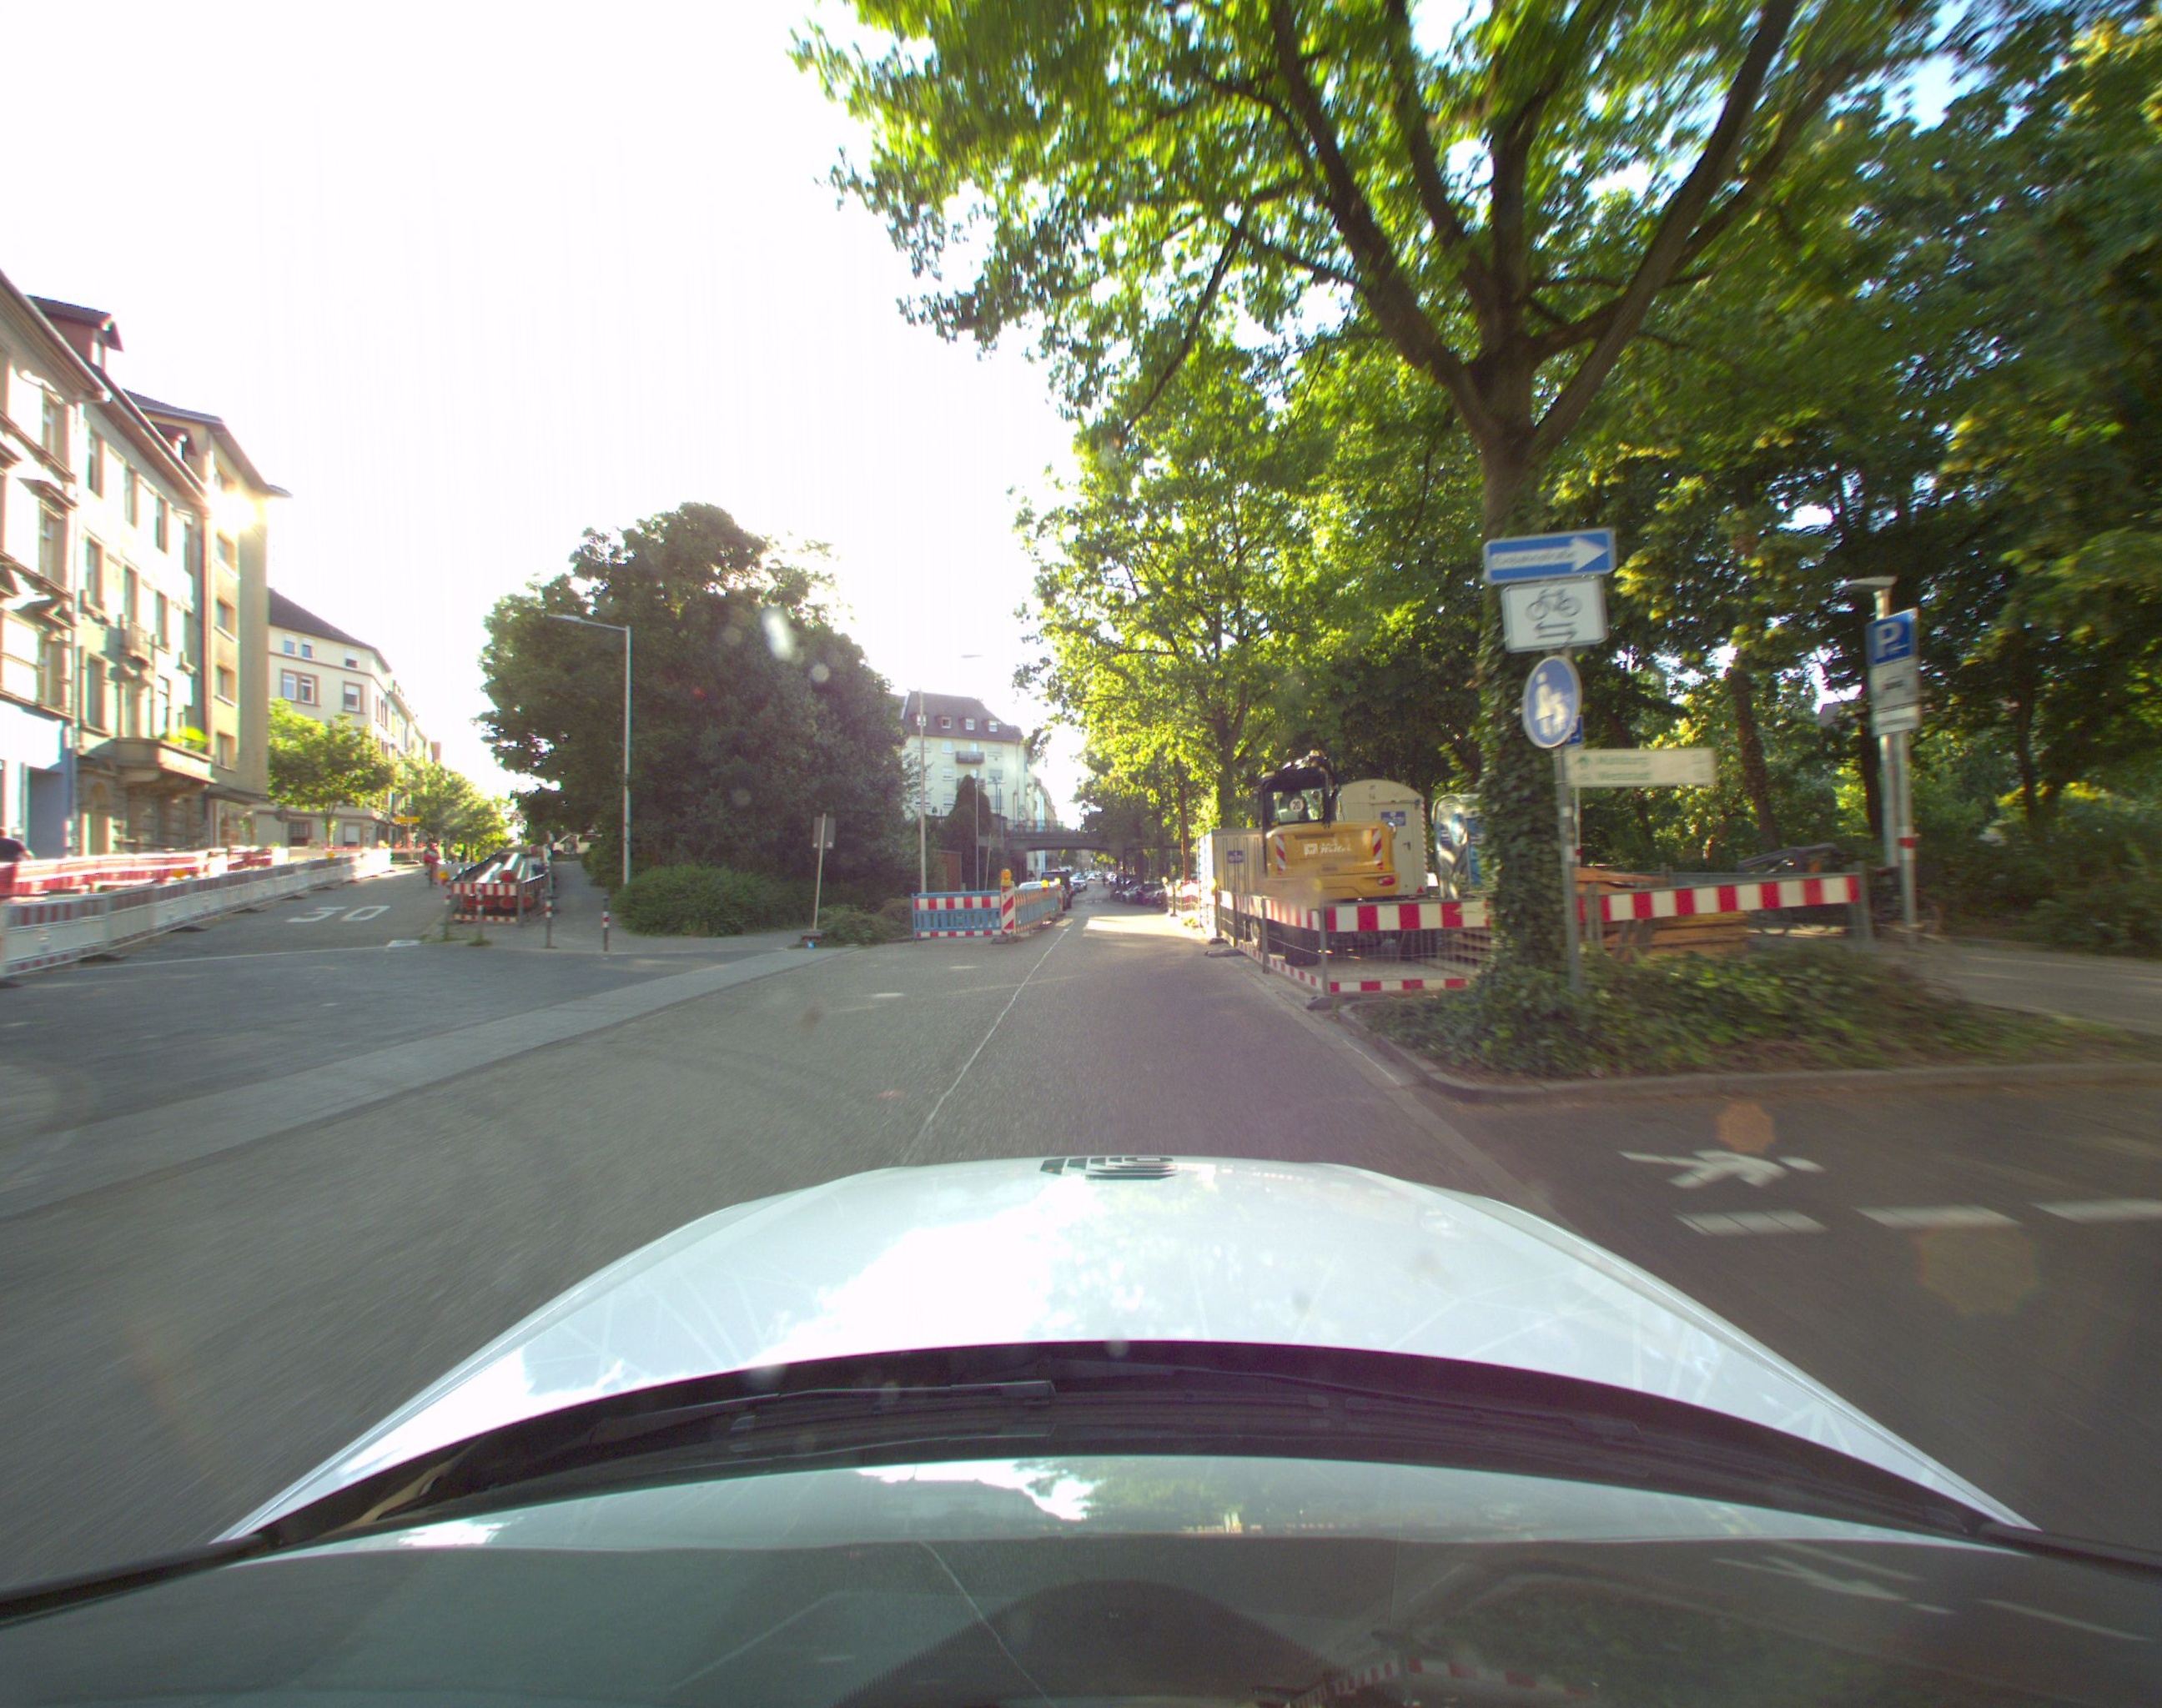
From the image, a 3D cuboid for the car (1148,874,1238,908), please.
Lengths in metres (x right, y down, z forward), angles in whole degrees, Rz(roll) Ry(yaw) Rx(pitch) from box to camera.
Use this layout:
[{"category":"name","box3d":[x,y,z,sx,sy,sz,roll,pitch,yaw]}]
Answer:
[{"category":"car","box3d":[5.676,1.895,41.706,4.374,1.702,1.915,0,-4,-1]}]

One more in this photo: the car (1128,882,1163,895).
[{"category":"car","box3d":[8.223,4.452,104.360,4.371,1.610,1.781,0,-4,1]}]

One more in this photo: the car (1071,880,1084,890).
[{"category":"car","box3d":[-0.479,4.468,117.153,1.806,1.398,3.974,-3,-3,1]}]

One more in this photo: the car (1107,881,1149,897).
[{"category":"car","box3d":[5.043,3.789,87.814,4.374,1.610,1.779,0,-4,-1]}]

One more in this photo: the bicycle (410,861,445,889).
[{"category":"bicycle","box3d":[-23.358,0.742,29.142,0.809,0.968,2.086,0,-1,-34]}]

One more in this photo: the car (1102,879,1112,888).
[{"category":"car","box3d":[4.538,5.260,143.790,1.768,1.610,4.402,-1,-3,2]}]

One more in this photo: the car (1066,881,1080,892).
[{"category":"car","box3d":[-1.047,4.464,111.939,1.806,1.398,3.974,-3,-3,1]}]

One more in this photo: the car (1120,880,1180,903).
[{"category":"car","box3d":[5.159,2.820,61.290,4.374,1.702,1.915,0,-4,-1]}]

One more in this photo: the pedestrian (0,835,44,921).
[{"category":"pedestrian","box3d":[-25.611,0.572,19.341,0.946,2.014,0.949,-1,-1,-32]}]

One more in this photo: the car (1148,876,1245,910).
[{"category":"car","box3d":[5.542,1.912,39.518,4.376,1.606,1.914,0,-4,-3]}]

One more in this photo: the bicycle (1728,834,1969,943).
[{"category":"bicycle","box3d":[10.193,0.421,10.966,1.024,1.285,2.139,-2,0,-10]}]

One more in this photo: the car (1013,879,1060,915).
[{"category":"car","box3d":[-1.880,1.861,35.357,1.709,1.418,4.106,-3,-3,1]}]

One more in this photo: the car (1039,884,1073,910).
[{"category":"car","box3d":[-1.473,2.646,49.952,1.806,1.453,4.349,-3,-3,1]}]

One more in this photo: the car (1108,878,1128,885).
[{"category":"car","box3d":[8.302,6.200,183.639,4.371,1.610,1.781,0,-4,1]}]

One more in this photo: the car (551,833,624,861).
[{"category":"car","box3d":[-36.958,-0.498,61.085,4.384,2.014,1.921,0,-1,-21]}]

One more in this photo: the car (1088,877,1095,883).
[{"category":"car","box3d":[2.722,6.682,207.977,1.806,1.398,3.974,-3,-3,1]}]

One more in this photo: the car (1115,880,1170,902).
[{"category":"car","box3d":[5.022,3.055,67.020,4.374,1.785,1.915,0,-4,-1]}]

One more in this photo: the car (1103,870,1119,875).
[{"category":"car","box3d":[8.686,5.372,235.250,4.371,1.610,1.781,0,-4,1]}]

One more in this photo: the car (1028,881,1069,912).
[{"category":"car","box3d":[-1.587,2.104,41.178,1.806,1.440,4.350,0,-2,1]}]

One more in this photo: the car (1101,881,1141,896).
[{"category":"car","box3d":[4.495,3.888,90.937,4.374,1.610,1.779,0,-4,-1]}]

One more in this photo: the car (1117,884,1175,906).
[{"category":"car","box3d":[5.088,3.214,64.229,4.374,1.702,1.915,0,-4,-1]}]

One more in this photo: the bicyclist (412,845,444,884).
[{"category":"bicyclist","box3d":[-23.378,0.377,29.158,0.809,1.383,0.975,0,-1,-34]}]

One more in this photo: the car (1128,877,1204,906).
[{"category":"car","box3d":[5.107,2.303,49.286,4.374,1.702,1.915,0,-4,-1]}]

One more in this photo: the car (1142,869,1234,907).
[{"category":"car","box3d":[5.788,1.870,44.282,4.729,1.997,1.915,0,-4,-2]}]

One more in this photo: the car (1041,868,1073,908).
[{"category":"car","box3d":[-1.548,2.327,54.990,2.041,2.498,5.694,0,-3,-1]}]

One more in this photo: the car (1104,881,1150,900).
[{"category":"car","box3d":[4.529,3.576,80.073,4.374,1.785,1.915,0,-4,-1]}]

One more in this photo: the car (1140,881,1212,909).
[{"category":"car","box3d":[5.967,2.604,51.576,4.374,1.702,1.915,0,-4,-1]}]

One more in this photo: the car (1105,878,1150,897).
[{"category":"car","box3d":[4.640,3.410,82.161,4.374,1.862,1.915,0,-4,-1]}]

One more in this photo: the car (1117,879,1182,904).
[{"category":"car","box3d":[4.750,2.652,56.740,4.374,1.702,1.915,0,-4,-1]}]

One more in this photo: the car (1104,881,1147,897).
[{"category":"car","box3d":[4.644,3.626,84.785,4.374,1.610,1.779,0,-4,-1]}]

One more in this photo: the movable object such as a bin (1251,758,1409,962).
[{"category":"movable object such as a bin","box3d":[3.755,0.116,12.539,1.979,2.699,3.123,-1,-1,15]}]

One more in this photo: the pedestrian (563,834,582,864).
[{"category":"pedestrian","box3d":[-29.815,-0.281,47.718,0.863,1.763,1.080,0,-1,-36]}]

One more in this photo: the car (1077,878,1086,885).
[{"category":"car","box3d":[0.079,5.784,171.701,1.806,1.398,3.974,-3,-3,1]}]

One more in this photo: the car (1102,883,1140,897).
[{"category":"car","box3d":[4.658,4.271,96.028,4.374,1.610,1.779,0,-4,-1]}]

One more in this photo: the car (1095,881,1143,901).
[{"category":"car","box3d":[3.493,3.452,75.573,4.374,1.785,1.915,0,-4,-1]}]
